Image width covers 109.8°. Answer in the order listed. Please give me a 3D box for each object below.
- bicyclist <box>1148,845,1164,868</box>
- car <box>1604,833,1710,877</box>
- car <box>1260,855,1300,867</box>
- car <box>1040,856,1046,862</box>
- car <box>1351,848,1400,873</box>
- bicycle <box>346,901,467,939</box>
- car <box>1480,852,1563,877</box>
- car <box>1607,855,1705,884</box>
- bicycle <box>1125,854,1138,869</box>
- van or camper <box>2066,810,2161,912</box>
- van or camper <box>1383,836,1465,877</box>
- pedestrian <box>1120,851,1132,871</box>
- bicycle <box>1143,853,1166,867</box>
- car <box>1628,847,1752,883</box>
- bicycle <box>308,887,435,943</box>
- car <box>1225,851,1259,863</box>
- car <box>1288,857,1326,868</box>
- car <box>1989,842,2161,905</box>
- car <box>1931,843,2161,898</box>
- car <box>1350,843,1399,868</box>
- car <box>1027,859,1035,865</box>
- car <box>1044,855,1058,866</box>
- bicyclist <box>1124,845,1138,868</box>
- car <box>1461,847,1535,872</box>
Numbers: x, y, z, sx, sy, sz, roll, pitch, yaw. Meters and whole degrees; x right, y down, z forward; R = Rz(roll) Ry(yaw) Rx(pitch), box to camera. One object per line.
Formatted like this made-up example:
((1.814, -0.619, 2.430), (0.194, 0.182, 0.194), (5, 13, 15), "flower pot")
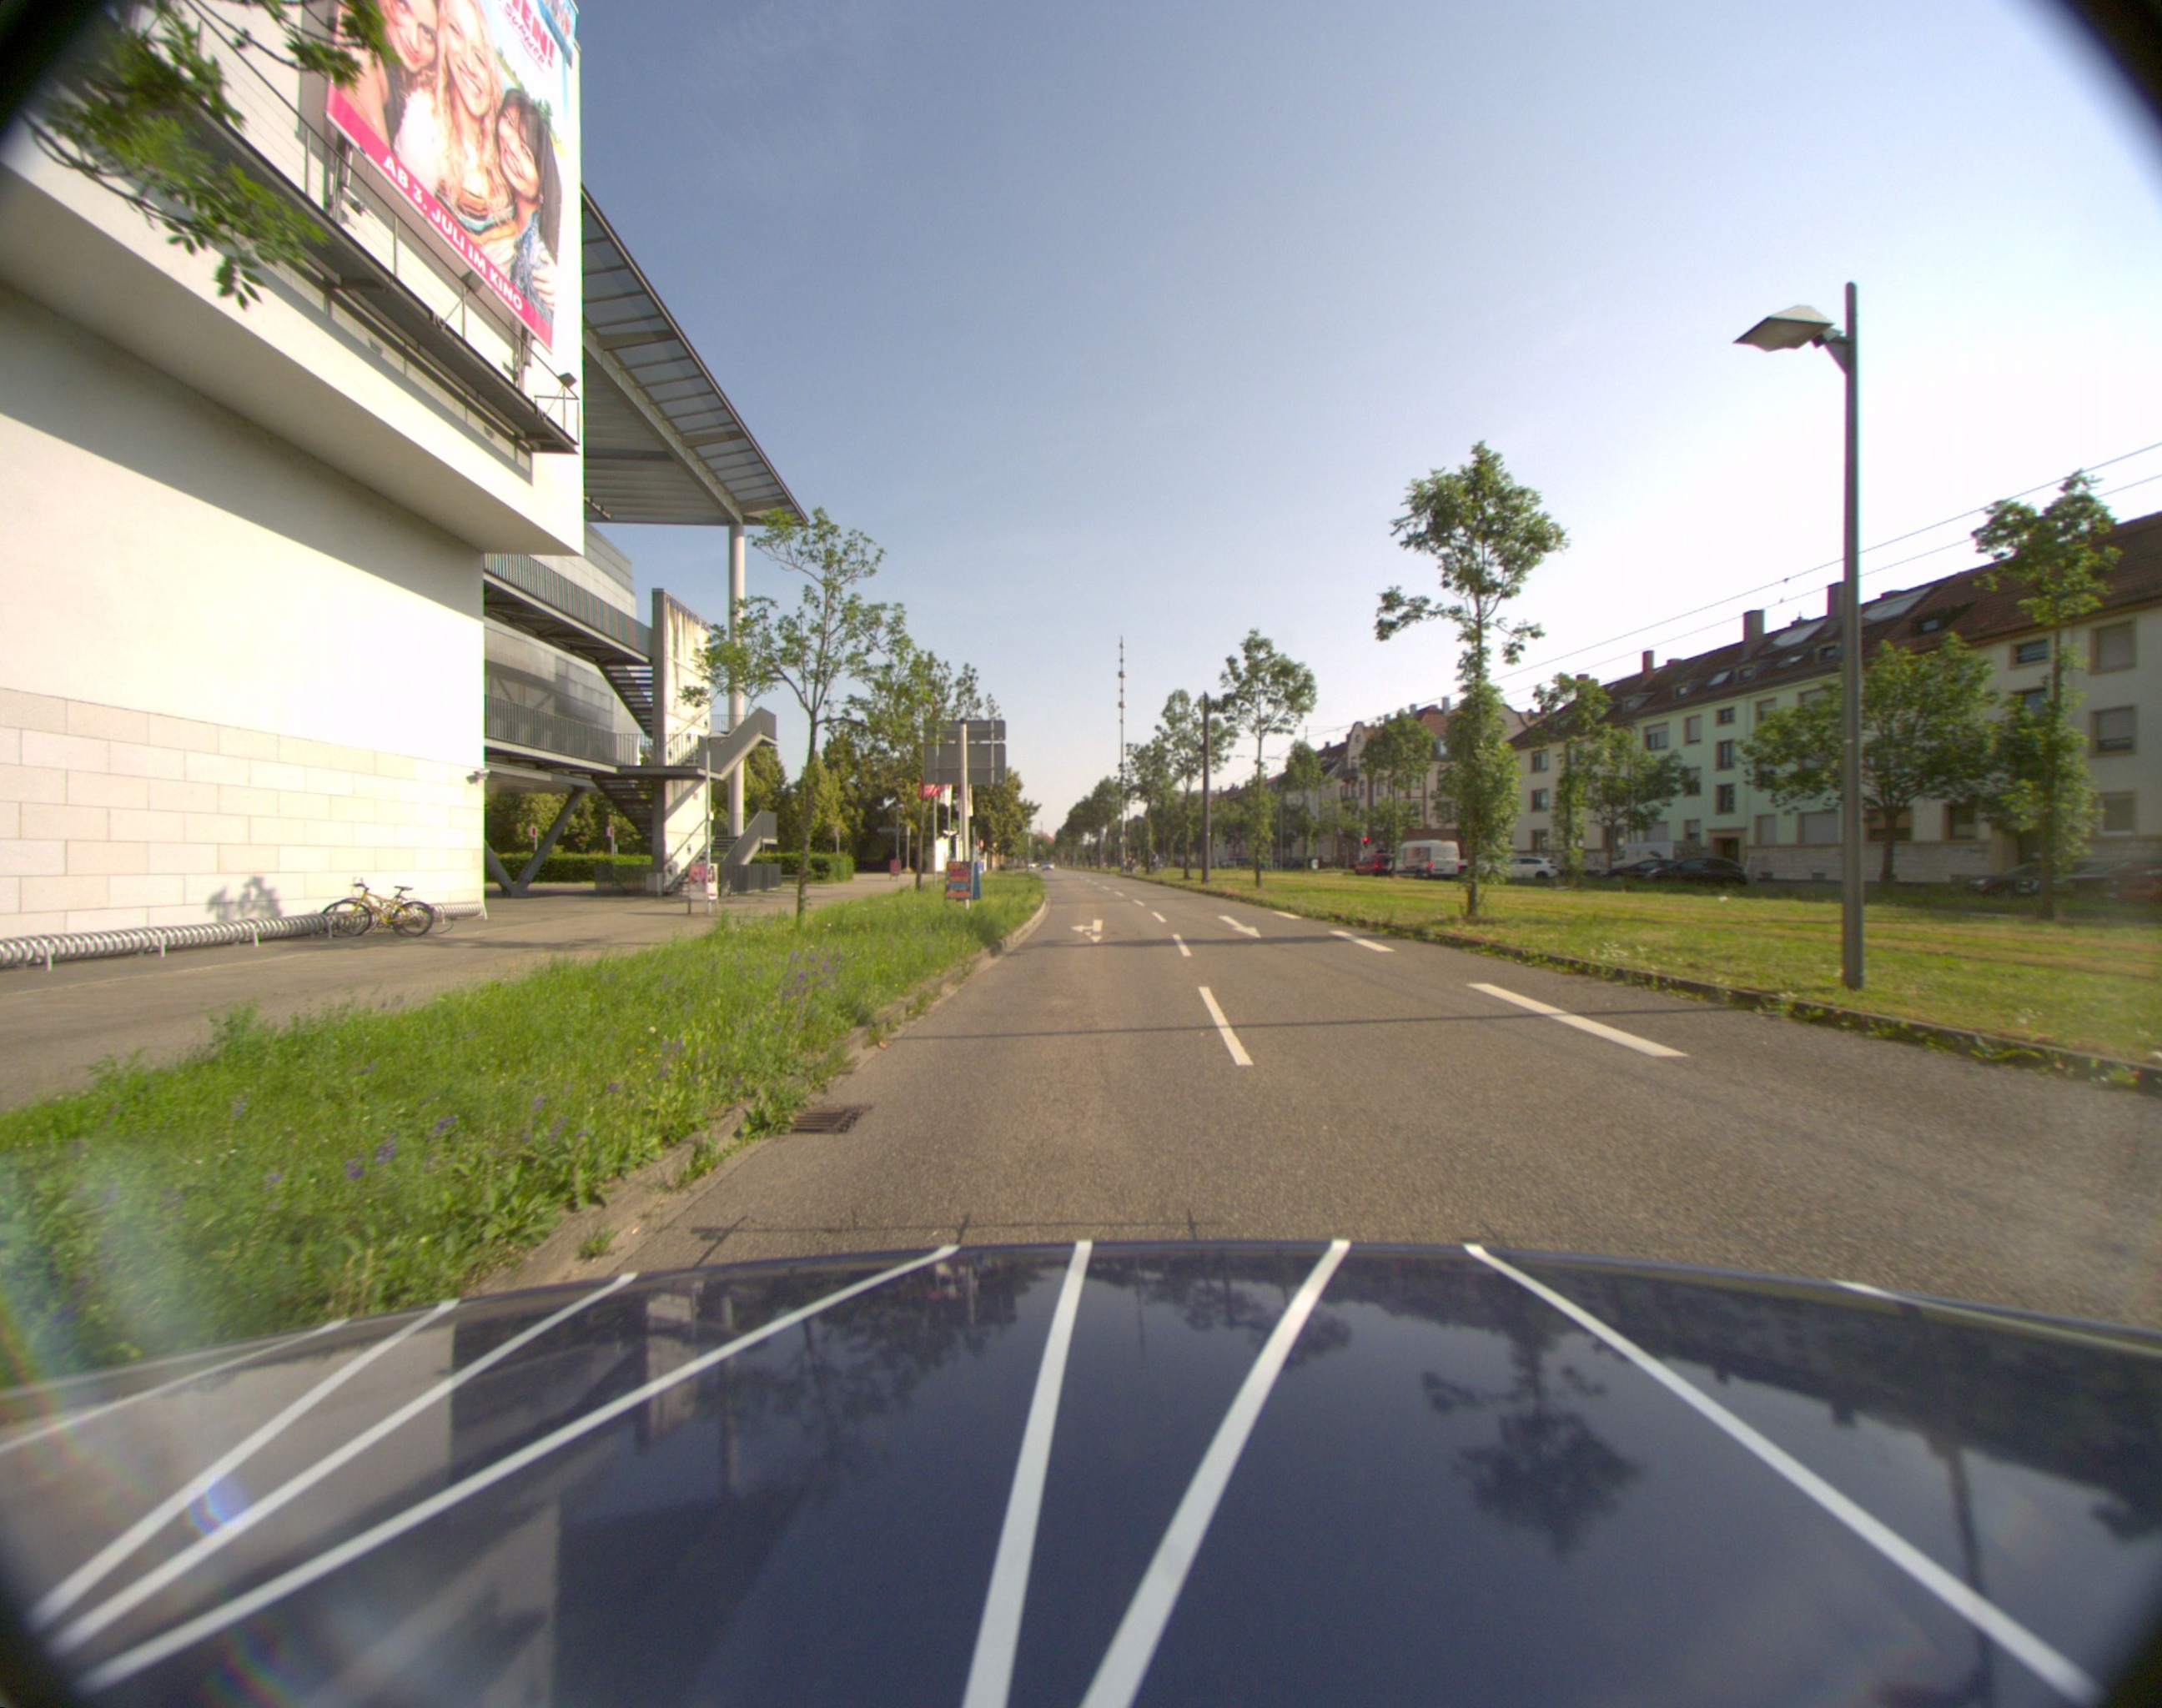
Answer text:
((6.201, 0.237, 62.823), (1.186, 1.840, 0.911), (-2, 1, 14), "bicyclist")
((34.692, 0.026, 45.994), (1.999, 2.449, 5.576), (-2, 0, -2), "car")
((25.045, 0.911, 95.766), (4.504, 1.432, 2.003), (-2, 1, 28), "car")
((-11.450, 1.517, 228.619), (1.999, 1.652, 3.999), (0, 0, -4), "car")
((21.619, 0.470, 55.878), (1.821, 1.727, 4.160), (1, 0, -2), "car")
((-12.226, 1.196, 13.797), (1.662, 0.641, 0.538), (0, 0, -3), "bicycle")
((27.514, 0.672, 47.518), (4.354, 1.466, 1.861), (-2, 1, 34), "car")
((28.343, 0.782, 37.586), (3.767, 1.335, 1.776), (-2, 1, 34), "car")
((4.004, 0.592, 60.143), (0.575, 1.139, 1.755), (0, 1, 20), "bicycle")
((29.525, 0.151, 18.594), (6.145, 2.532, 2.419), (0, 0, 33), "van or camper")
((21.885, 0.135, 48.874), (2.148, 2.459, 6.056), (1, 0, -4), "van or camper")
((3.644, 0.578, 61.519), (0.610, 1.594, 0.737), (0, 0, 33), "pedestrian")
((6.069, 0.490, 62.932), (1.790, 1.139, 0.577), (-2, 1, 14), "bicycle")
((27.834, 0.501, 34.948), (4.338, 1.521, 2.004), (-1, 1, 36), "car")
((-12.203, 1.040, 13.095), (1.662, 0.910, 0.482), (0, 0, -3), "bicycle")
((23.806, 0.443, 112.108), (4.490, 1.596, 2.003), (-2, 1, 25), "car")
((25.595, 0.952, 86.170), (3.840, 1.121, 1.772), (-2, 1, 28), "car")
((29.353, 0.532, 21.637), (4.142, 1.607, 1.872), (-1, 3, 35), "car")
((30.003, 0.496, 23.821), (4.142, 1.501, 1.872), (-1, 3, 35), "car")
((32.260, 0.151, 83.894), (2.355, 2.549, 6.504), (-2, 0, -5), "car")
((-12.534, 1.973, 191.097), (1.999, 1.652, 3.999), (0, 0, -4), "car")
((-4.582, 0.985, 114.400), (1.999, 1.652, 3.999), (0, 0, -4), "car")
((3.977, 0.180, 60.166), (0.906, 1.812, 0.872), (0, 1, 20), "bicyclist")
((27.531, 0.349, 50.206), (4.088, 1.520, 1.816), (-1, 1, 34), "car")
